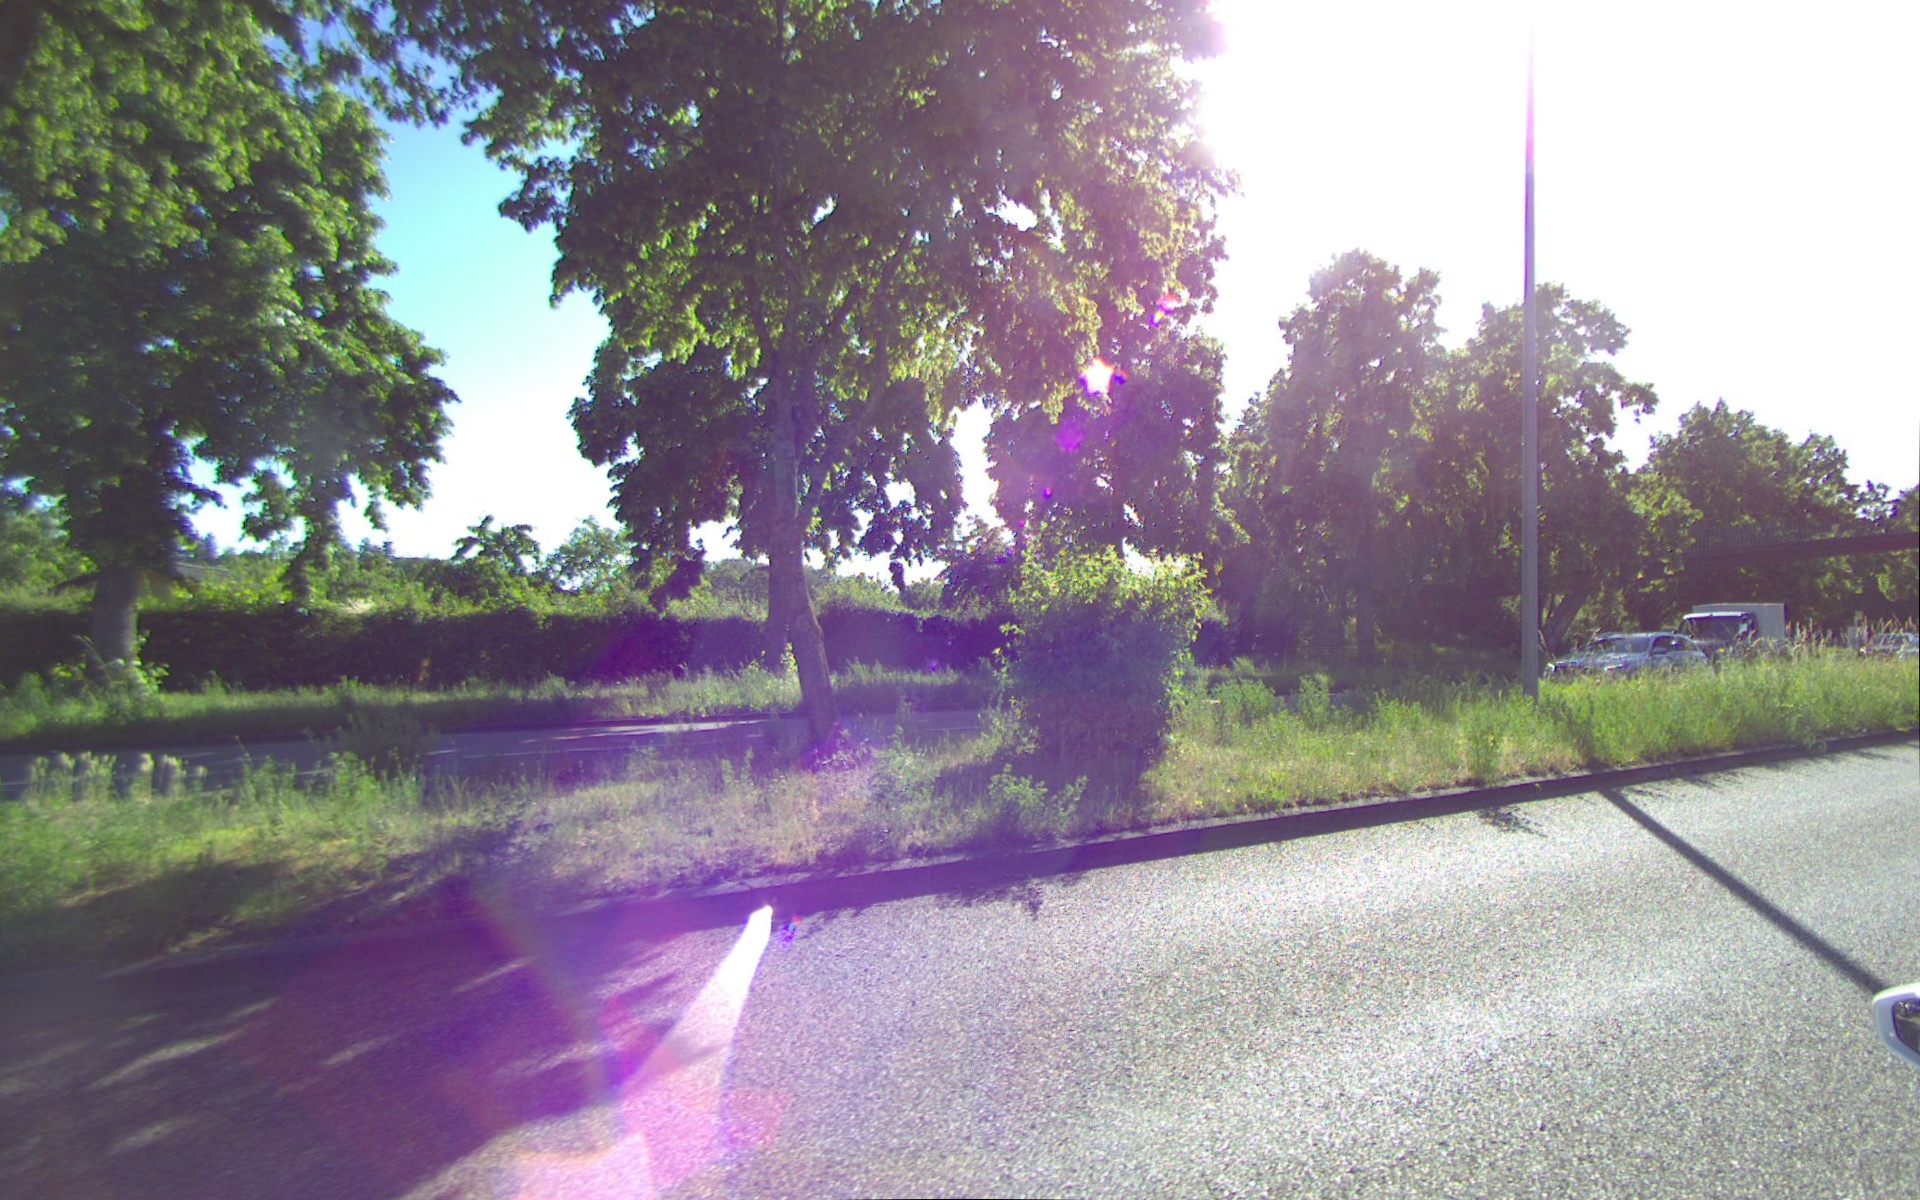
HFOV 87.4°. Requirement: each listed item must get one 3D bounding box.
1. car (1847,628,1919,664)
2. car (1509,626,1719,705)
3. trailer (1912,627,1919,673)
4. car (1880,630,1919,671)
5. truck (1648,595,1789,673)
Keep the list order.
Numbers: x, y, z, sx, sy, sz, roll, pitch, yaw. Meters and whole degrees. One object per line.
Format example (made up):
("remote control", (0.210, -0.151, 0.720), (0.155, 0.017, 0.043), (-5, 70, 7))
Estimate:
("car", (44.527, 2.190, 48.245), (4.322, 1.627, 1.845), (1, -3, -34))
("car", (15.056, 1.442, 23.018), (5.512, 1.627, 1.847), (1, -3, -32))
("trailer", (42.617, 2.135, 43.218), (4.239, 1.935, 1.553), (1, -1, -35))
("car", (39.221, 2.062, 40.920), (3.983, 1.603, 1.685), (2, -2, -34))
("truck", (26.968, 1.227, 35.672), (5.681, 2.545, 2.160), (1, -3, -34))
